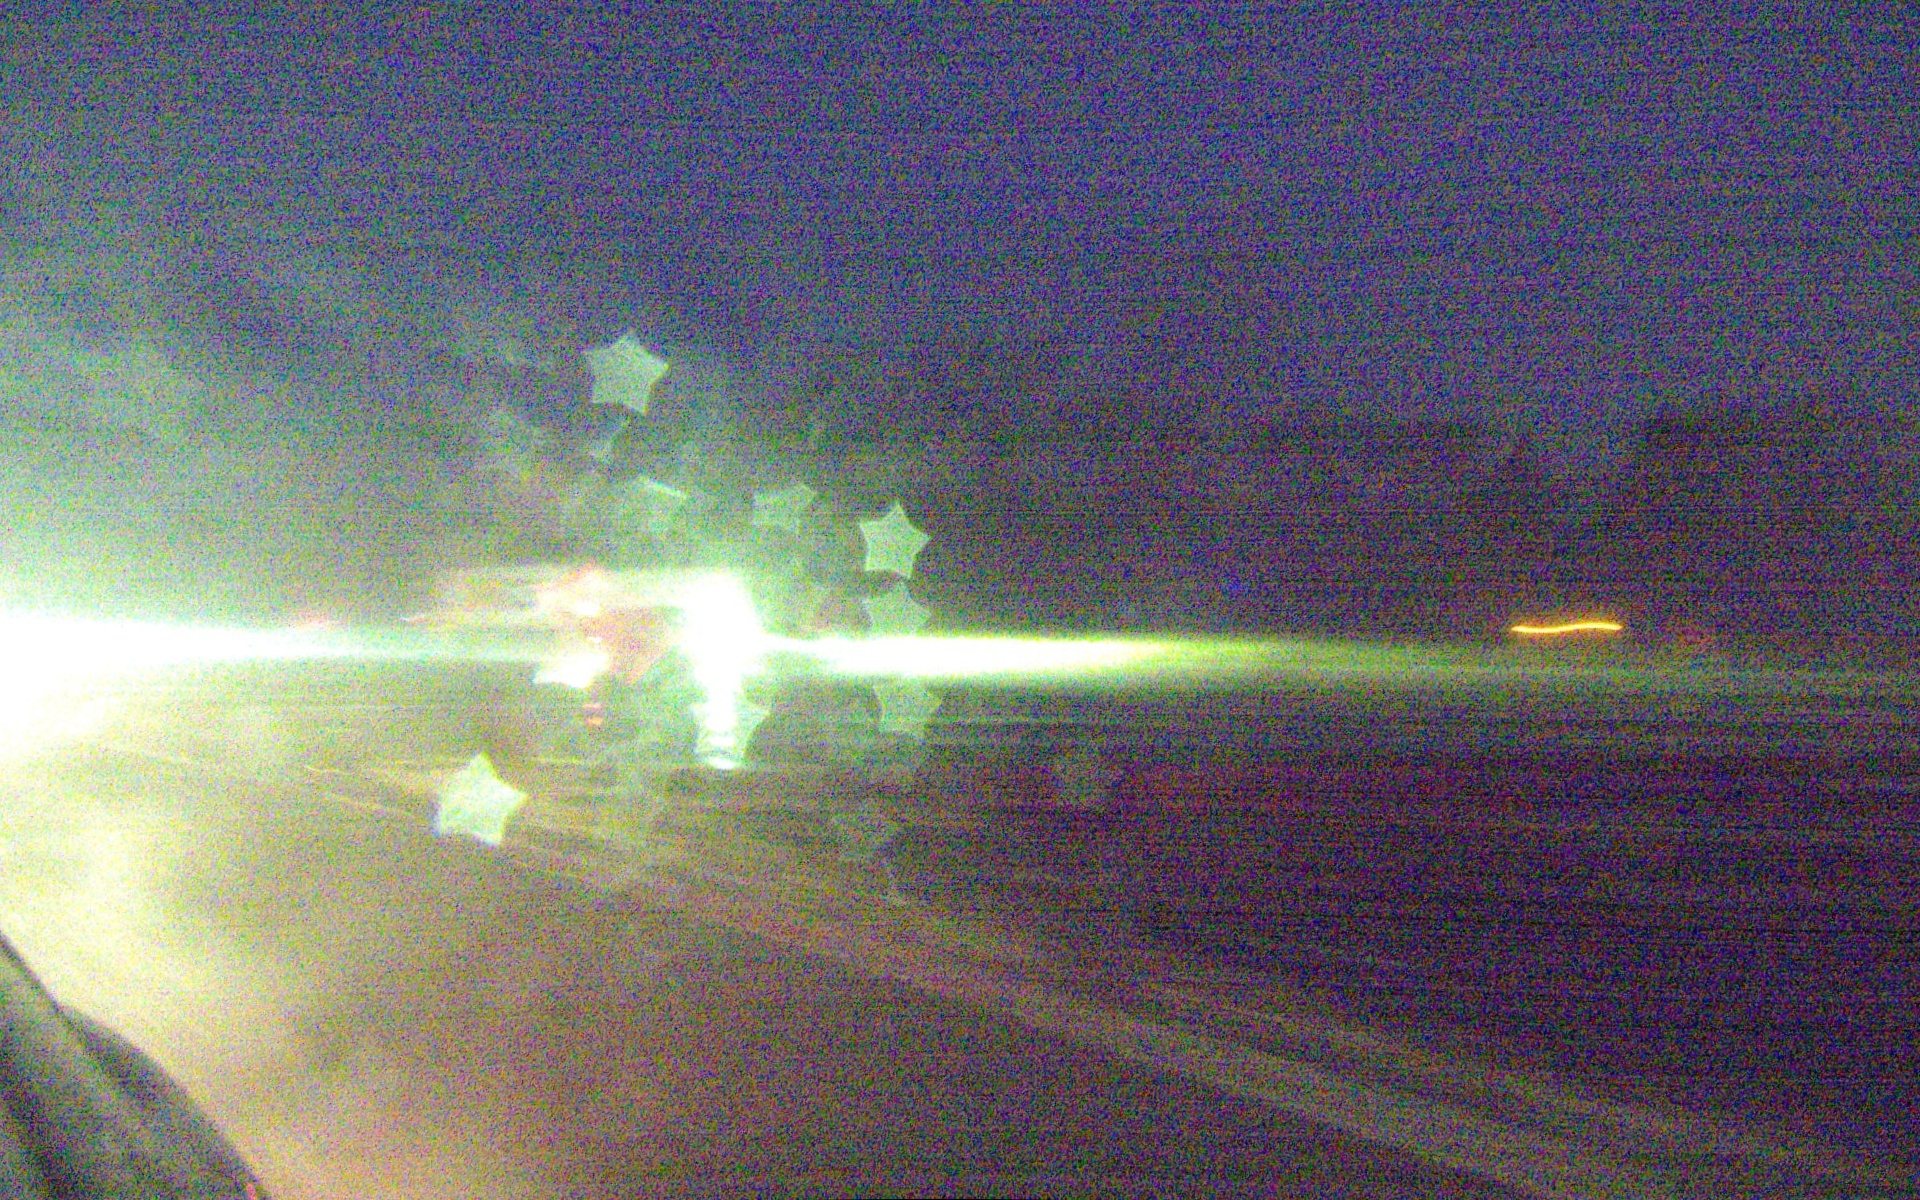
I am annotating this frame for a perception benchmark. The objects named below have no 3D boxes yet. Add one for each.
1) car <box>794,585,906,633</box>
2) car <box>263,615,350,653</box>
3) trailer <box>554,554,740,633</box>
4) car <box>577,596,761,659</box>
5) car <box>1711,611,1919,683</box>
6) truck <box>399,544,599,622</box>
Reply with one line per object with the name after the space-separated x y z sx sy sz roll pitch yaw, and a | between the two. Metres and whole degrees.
-4.302 0.336 39.681 3.974 1.821 1.895 0 1 23 | car
-33.868 1.729 52.441 3.974 1.821 1.895 0 1 23 | car
-15.011 -0.288 48.382 8.827 3.536 2.615 0 1 22 | trailer
-7.870 0.693 27.363 4.558 1.572 1.985 0 1 23 | car
23.445 1.245 27.960 3.974 1.821 1.895 0 1 23 | car
-23.746 -0.805 51.922 10.789 3.721 2.615 0 1 22 | truck
